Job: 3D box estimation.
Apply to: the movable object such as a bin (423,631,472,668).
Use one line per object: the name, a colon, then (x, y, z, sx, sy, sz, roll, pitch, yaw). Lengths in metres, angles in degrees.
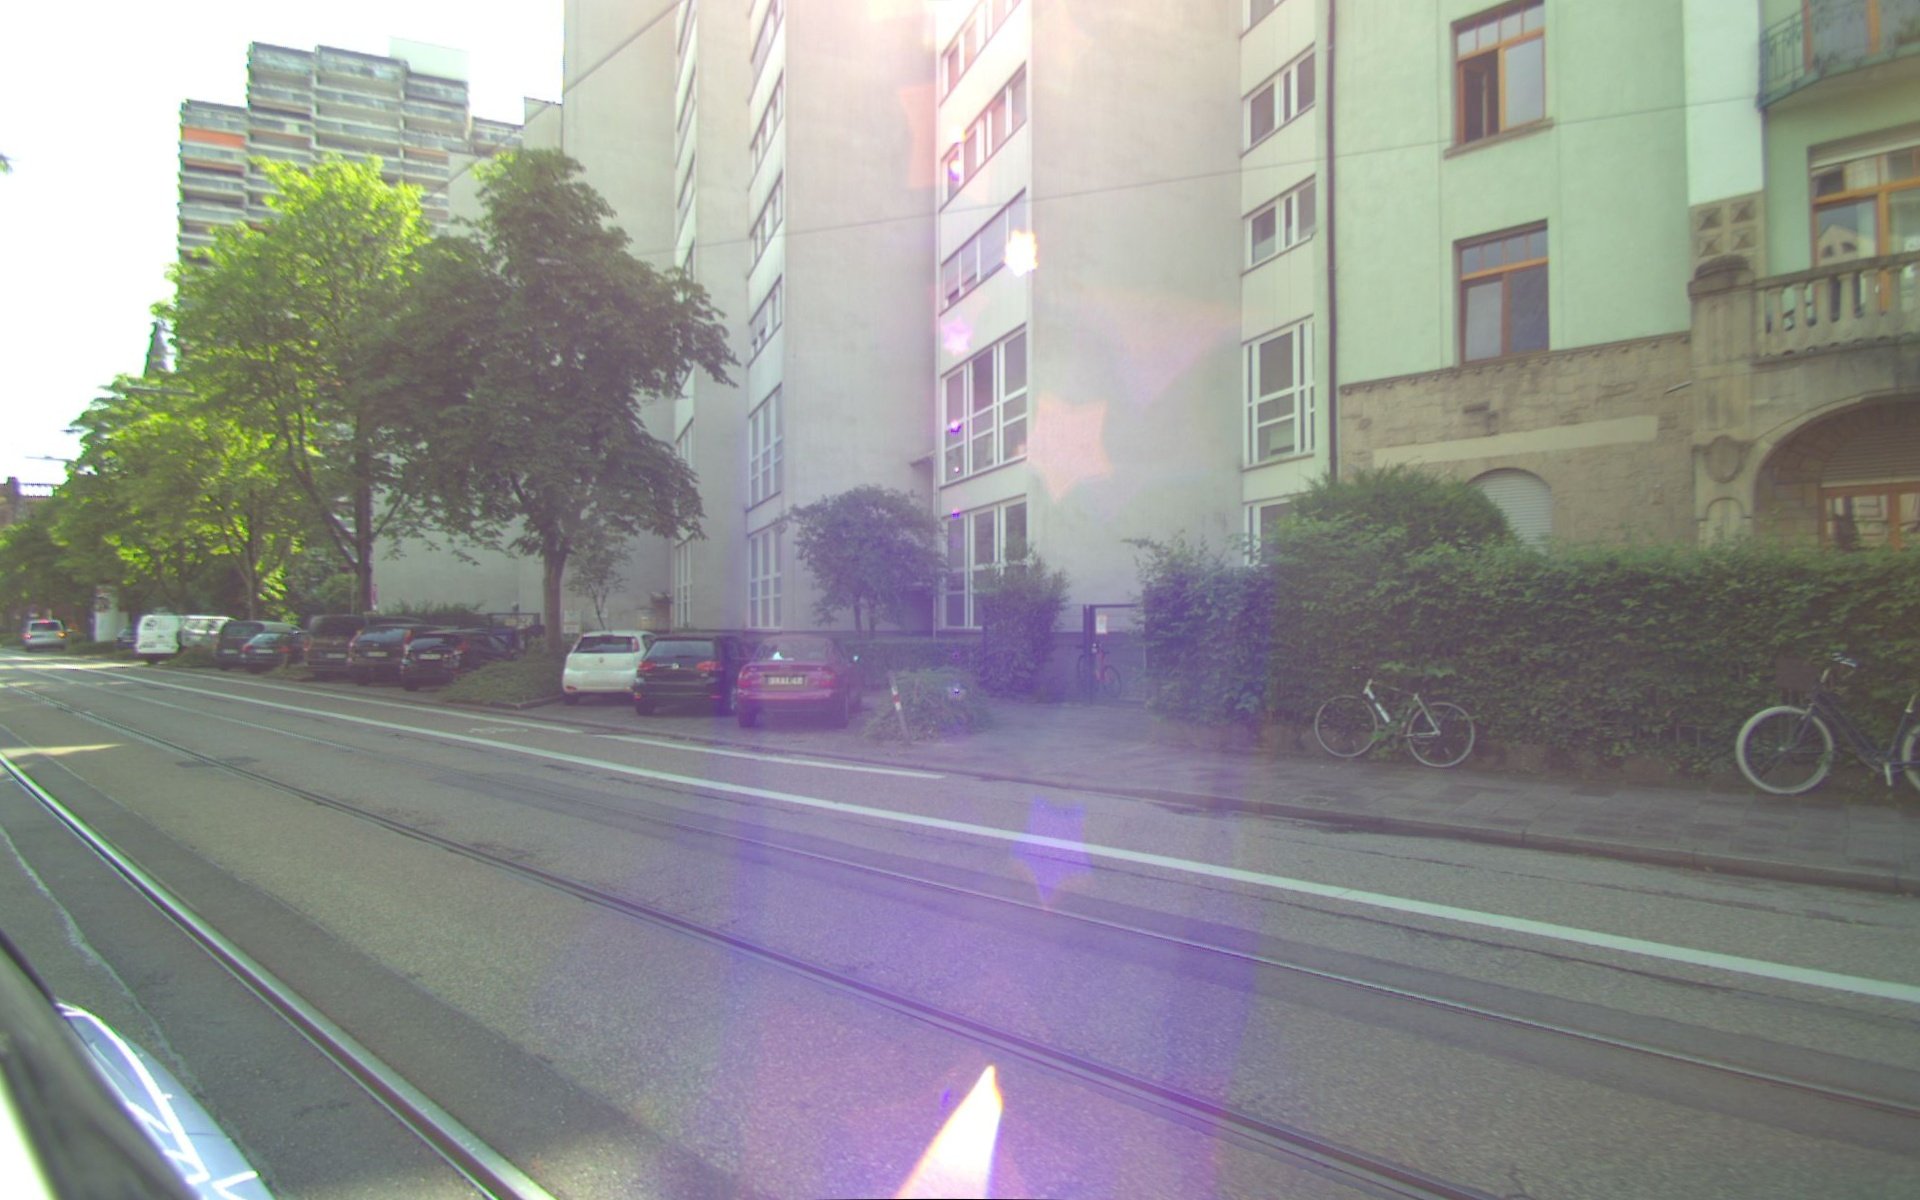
movable object such as a bin: (-19.661, 1.889, 38.809, 1.441, 1.337, 1.152, -1, -5, 41)

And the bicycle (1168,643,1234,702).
bicycle: (5.092, 1.513, 21.491, 0.377, 1.154, 1.816, -1, -1, -21)

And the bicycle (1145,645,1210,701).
bicycle: (4.542, 1.512, 21.271, 0.377, 1.072, 1.816, -1, -1, -21)

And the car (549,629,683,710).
car: (-7.034, 1.425, 21.089, 1.672, 1.495, 3.810, 2, -3, -4)

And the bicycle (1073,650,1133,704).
bicycle: (2.889, 1.547, 20.596, 0.377, 0.986, 1.722, -1, -1, -21)

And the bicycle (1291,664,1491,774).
bicycle: (4.275, 1.154, 10.157, 1.810, 0.966, 0.378, -2, -1, 44)

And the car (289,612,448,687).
car: (-17.092, 1.470, 29.612, 1.888, 1.969, 5.173, 2, -3, -4)

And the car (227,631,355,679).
car: (-21.887, 1.816, 33.290, 1.734, 1.428, 4.003, 2, -3, -4)

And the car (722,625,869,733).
car: (-2.530, 1.249, 16.459, 1.820, 1.495, 3.971, 1, -3, -1)

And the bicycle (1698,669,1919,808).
bicycle: (6.878, 1.049, 7.850, 1.810, 0.966, 0.378, -2, -1, 44)

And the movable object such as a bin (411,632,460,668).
movable object such as a bin: (-20.876, 1.992, 40.317, 1.440, 1.391, 1.181, -1, -5, 39)

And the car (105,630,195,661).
car: (-41.417, 2.290, 51.829, 1.716, 1.535, 3.889, 0, -2, -5)

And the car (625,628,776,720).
car: (-4.667, 1.341, 18.755, 1.675, 1.495, 3.804, 1, -3, 2)

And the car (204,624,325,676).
car: (-24.397, 1.780, 35.668, 1.735, 1.706, 3.716, 1, -3, -2)

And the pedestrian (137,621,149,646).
pedestrian: (-59.966, 2.439, 74.247, 0.515, 1.767, 0.637, 0, 1, -25)

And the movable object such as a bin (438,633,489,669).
movable object such as a bin: (-18.556, 1.901, 37.837, 1.441, 1.293, 1.156, -1, -5, 41)

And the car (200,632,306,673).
car: (-26.664, 2.001, 38.324, 1.694, 1.428, 4.008, 2, -3, -10)

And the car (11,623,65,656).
car: (-57.674, 2.433, 63.276, 4.232, 1.865, 1.868, -1, 1, 40)

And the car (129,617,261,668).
car: (-31.657, 1.755, 42.089, 1.941, 2.012, 4.685, 0, -2, 0)

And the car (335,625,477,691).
car: (-14.694, 1.561, 27.098, 1.715, 1.605, 4.002, 2, -3, -3)

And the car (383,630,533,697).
car: (-12.307, 1.567, 25.116, 1.716, 1.495, 4.000, 1, -3, -1)

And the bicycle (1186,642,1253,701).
bicycle: (5.512, 1.505, 21.621, 0.377, 1.154, 1.816, -1, -1, -21)

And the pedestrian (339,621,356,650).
pedestrian: (-36.088, 2.085, 59.610, 0.660, 1.636, 0.635, 0, -1, 34)
